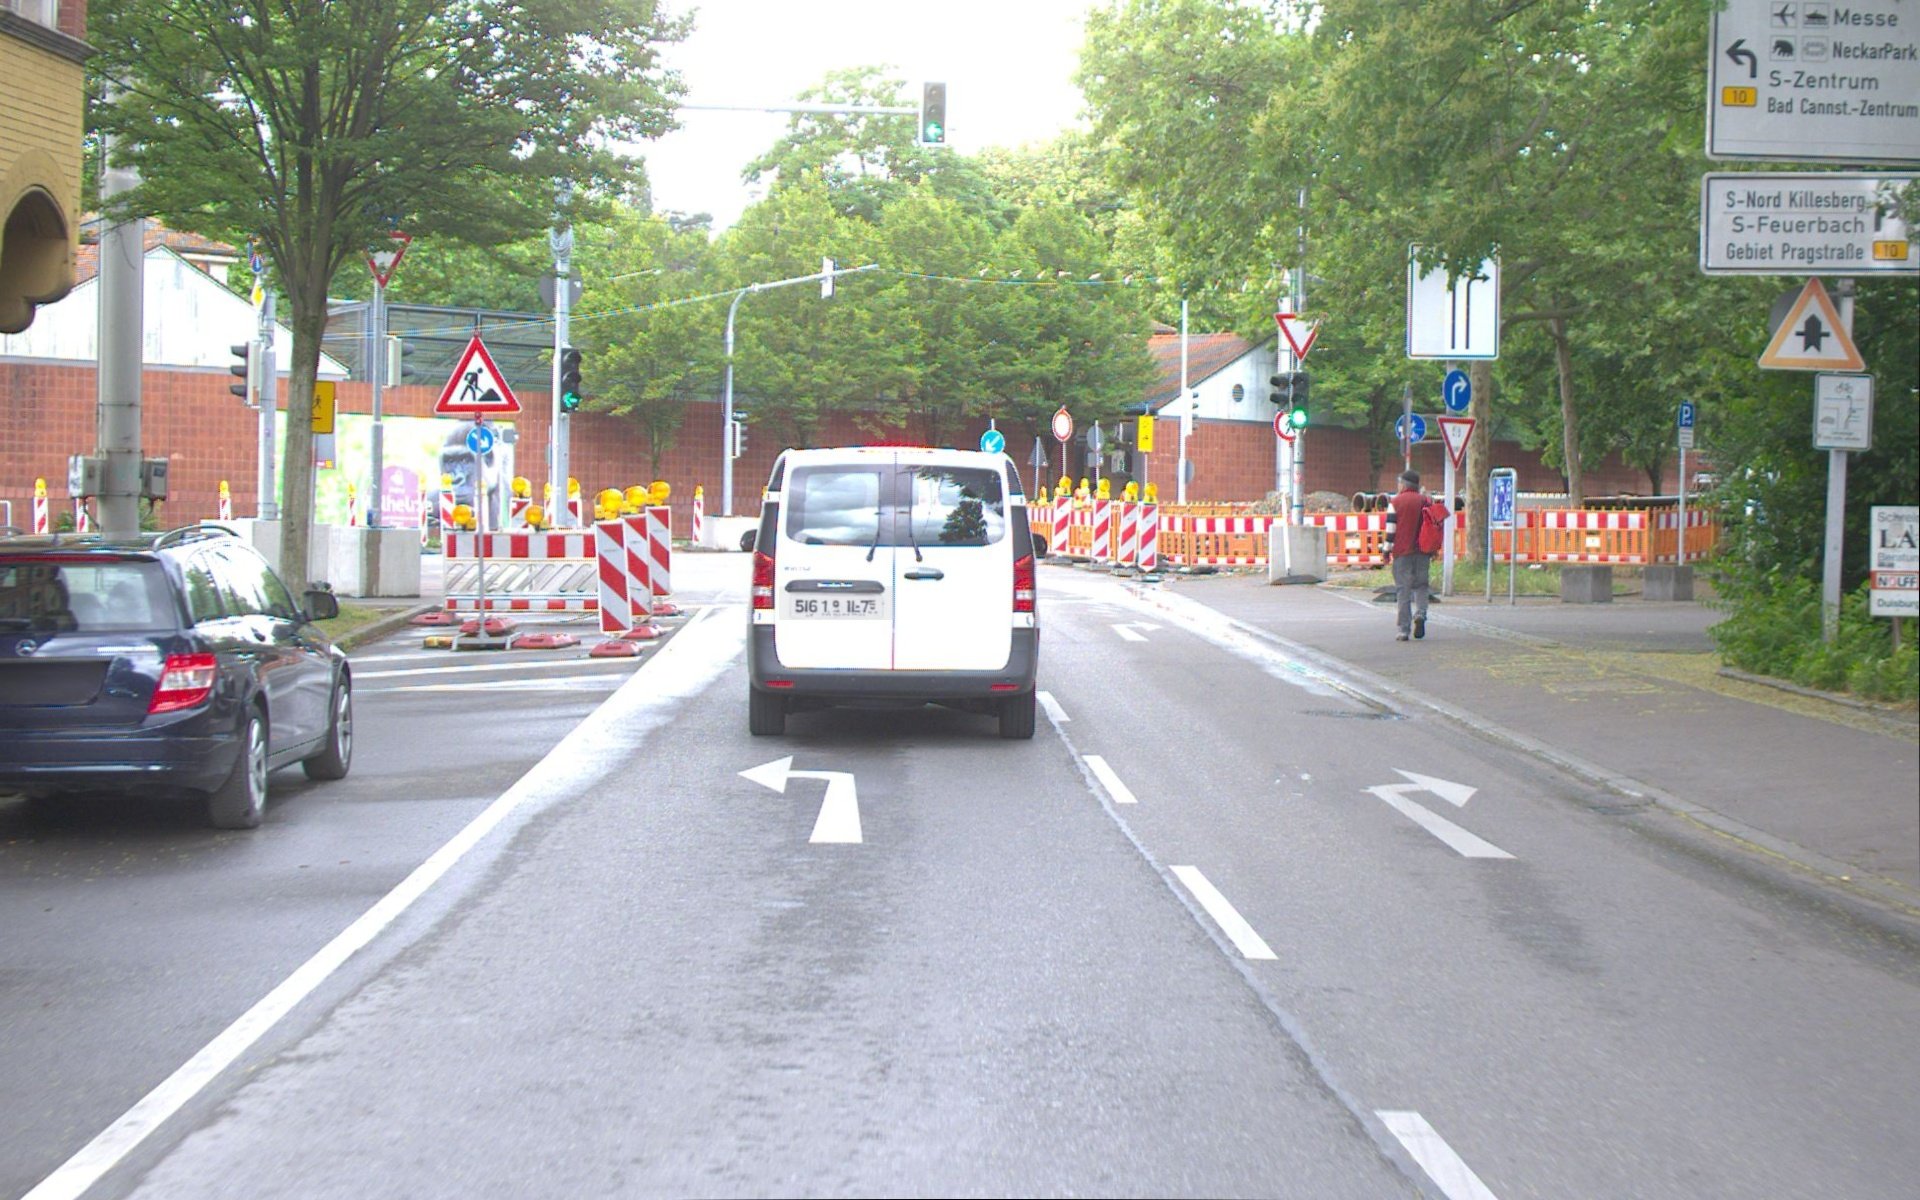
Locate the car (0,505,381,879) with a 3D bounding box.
[{"bbox_3d":[-4.216,0.354,17.652,1.725,1.480,4.391,2,4,0],"label":"car"}]

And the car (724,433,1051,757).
[{"bbox_3d":[-0.516,-0.028,23.692,1.917,1.895,4.702,4,0,-2],"label":"car"}]

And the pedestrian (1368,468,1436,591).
[{"bbox_3d":[6.219,-1.003,48.356,0.730,1.691,0.838,-1,3,-10],"label":"pedestrian"}]

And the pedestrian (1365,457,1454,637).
[{"bbox_3d":[4.643,-0.559,35.561,0.779,1.824,0.728,-2,2,-1],"label":"pedestrian"}]
